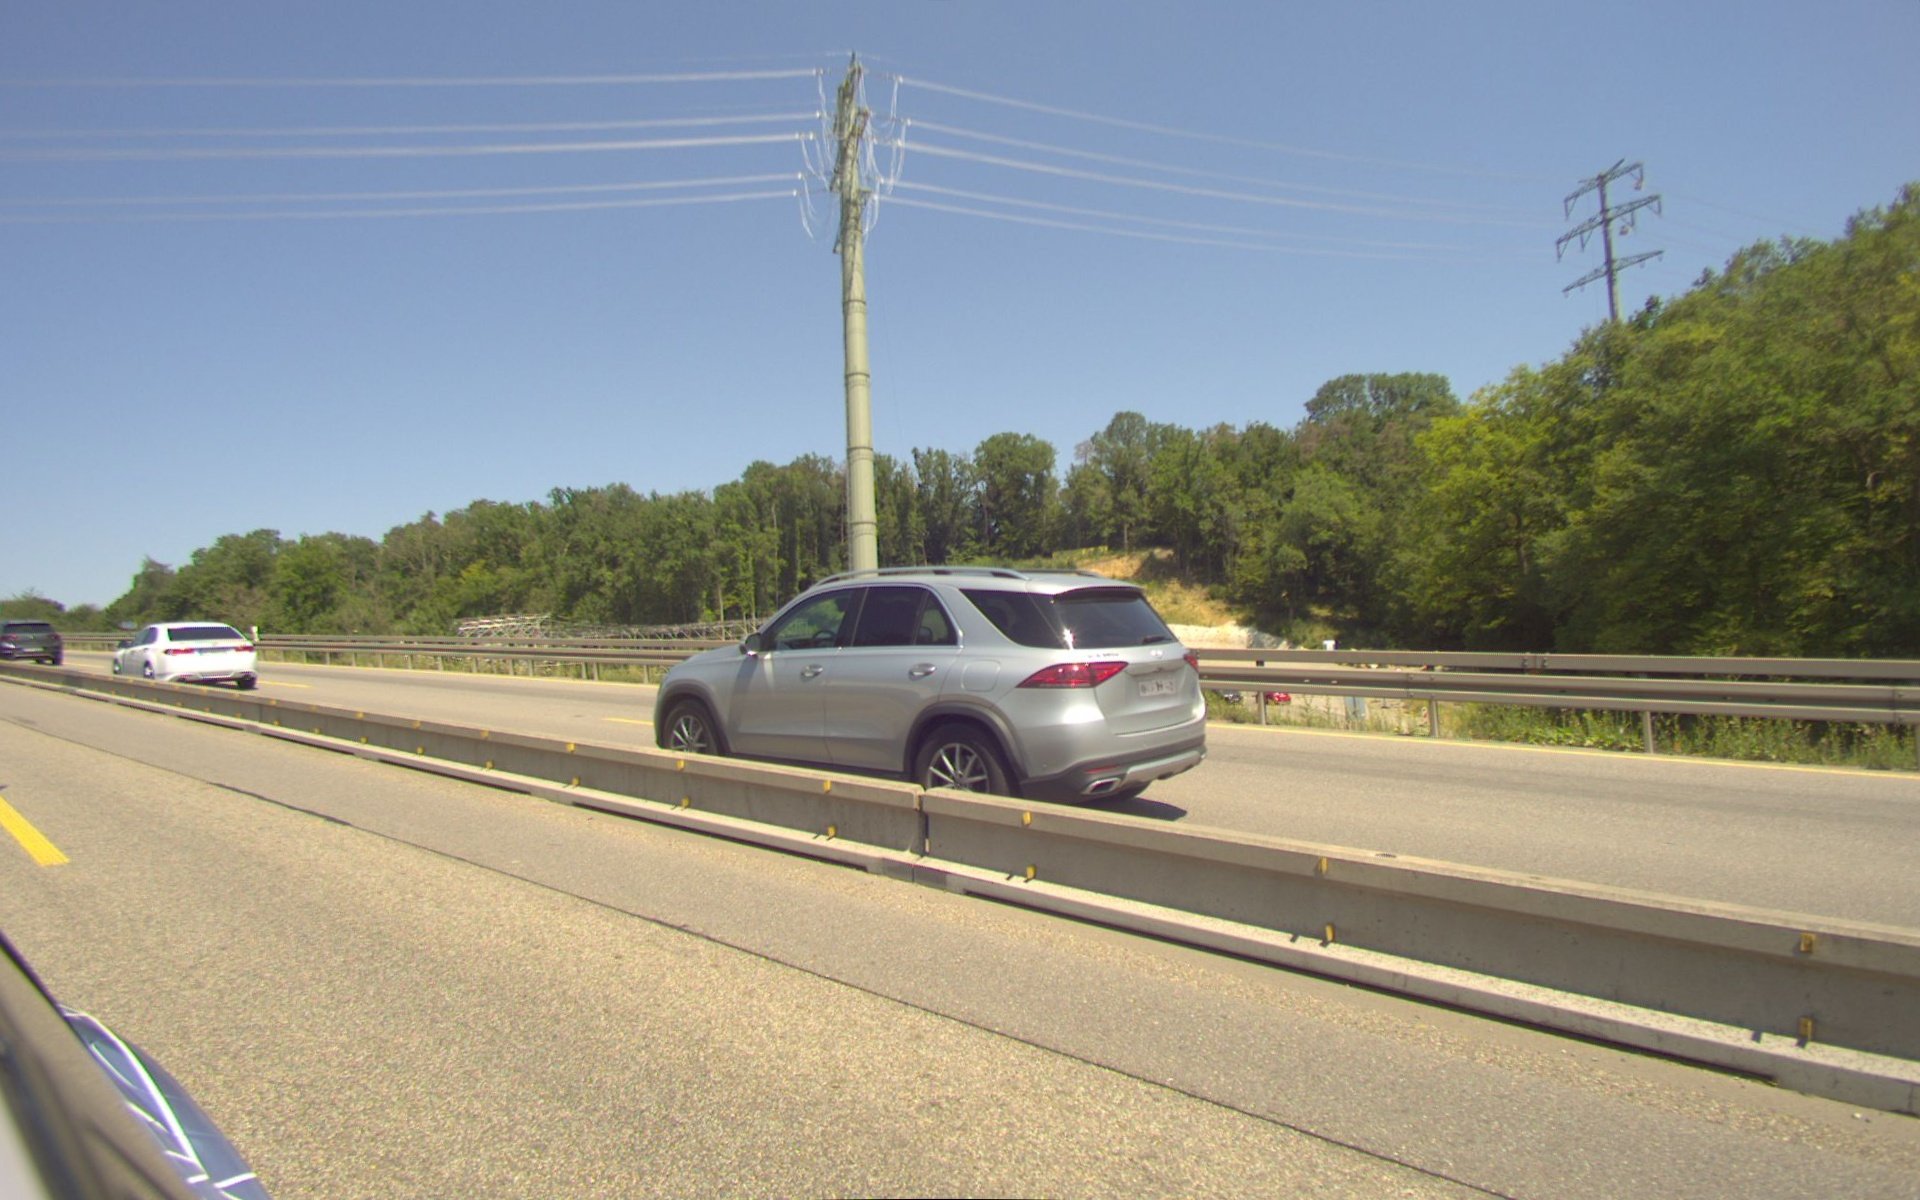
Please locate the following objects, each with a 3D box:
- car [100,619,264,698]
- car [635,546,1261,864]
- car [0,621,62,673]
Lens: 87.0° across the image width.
[{"bbox_3d":[-16.867,1.202,21.861,4.473,1.498,1.892,-2,-1,40],"label":"car"},{"bbox_3d":[-0.355,0.609,7.756,4.734,1.718,1.892,-2,-1,41],"label":"car"},{"bbox_3d":[-32.309,1.579,34.719,3.998,1.654,1.721,-1,-1,41],"label":"car"}]
